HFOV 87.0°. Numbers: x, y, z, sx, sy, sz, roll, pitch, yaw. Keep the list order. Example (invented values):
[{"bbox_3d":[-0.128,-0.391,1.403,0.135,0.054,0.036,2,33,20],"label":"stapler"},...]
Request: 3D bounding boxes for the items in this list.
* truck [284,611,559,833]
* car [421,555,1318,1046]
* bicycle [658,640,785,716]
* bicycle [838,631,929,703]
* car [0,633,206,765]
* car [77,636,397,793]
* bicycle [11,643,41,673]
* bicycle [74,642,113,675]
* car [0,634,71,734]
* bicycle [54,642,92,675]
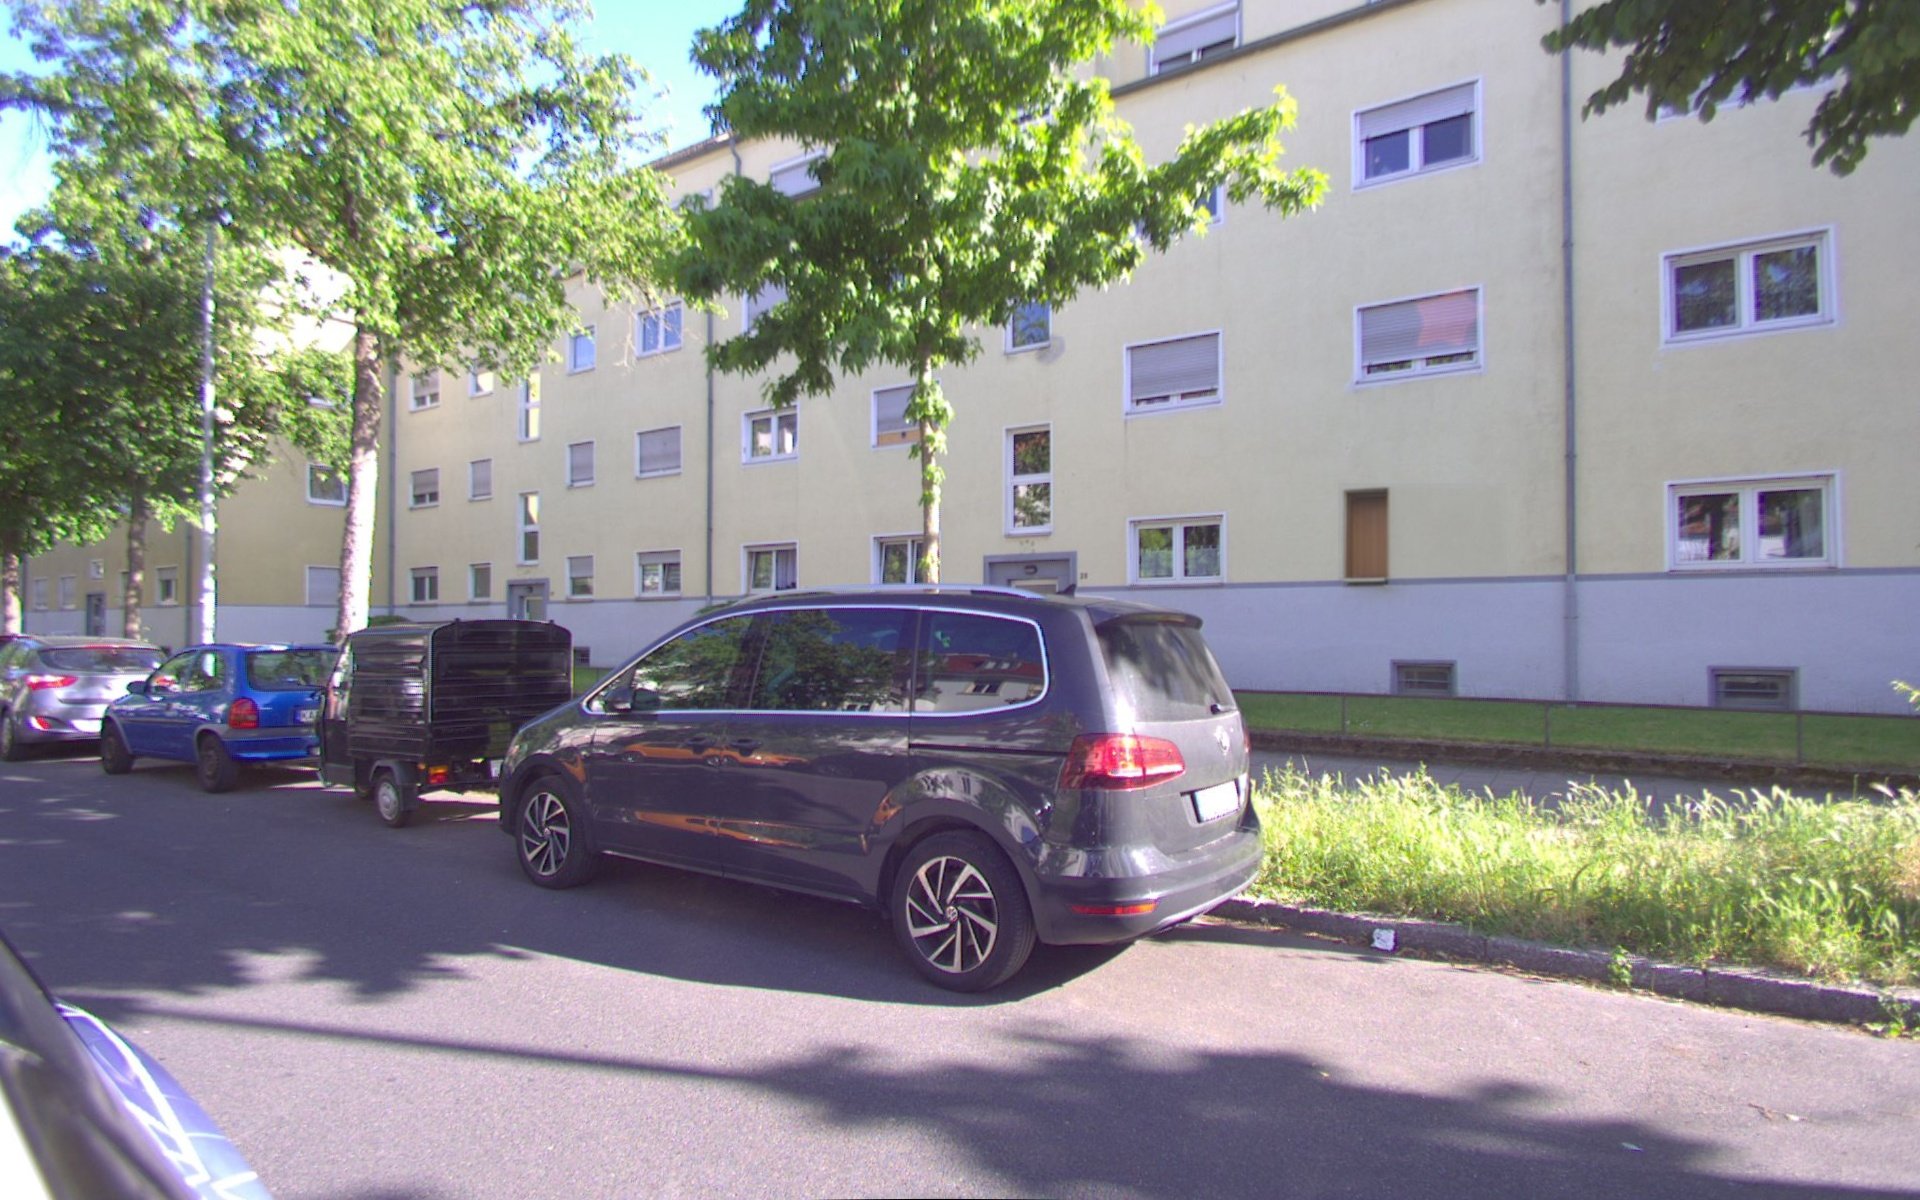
[{"bbox_3d":[-4.508,0.914,8.406,2.427,1.589,1.074,-2,-3,37],"label":"truck"},{"bbox_3d":[-0.770,0.805,5.689,4.963,1.693,1.834,-2,-5,34],"label":"car"},{"bbox_3d":[-3.604,1.165,15.290,1.825,1.089,0.485,0,1,11],"label":"bicycle"},{"bbox_3d":[-1.284,1.117,17.357,0.486,1.089,1.822,0,1,37],"label":"bicycle"},{"bbox_3d":[-11.864,1.193,13.312,4.678,1.455,1.775,-2,-4,36],"label":"car"},{"bbox_3d":[-7.752,1.088,10.771,3.716,1.406,1.508,-1,-2,33],"label":"car"},{"bbox_3d":[-32.365,1.990,35.074,1.542,1.008,0.510,-2,-3,38],"label":"bicycle"},{"bbox_3d":[-27.346,1.834,31.917,1.744,1.034,0.531,-2,-2,36],"label":"bicycle"},{"bbox_3d":[-16.370,1.328,16.647,4.259,1.527,1.606,-2,-4,35],"label":"car"},{"bbox_3d":[-28.937,1.887,33.003,1.744,1.034,0.535,-2,-2,36],"label":"bicycle"}]
